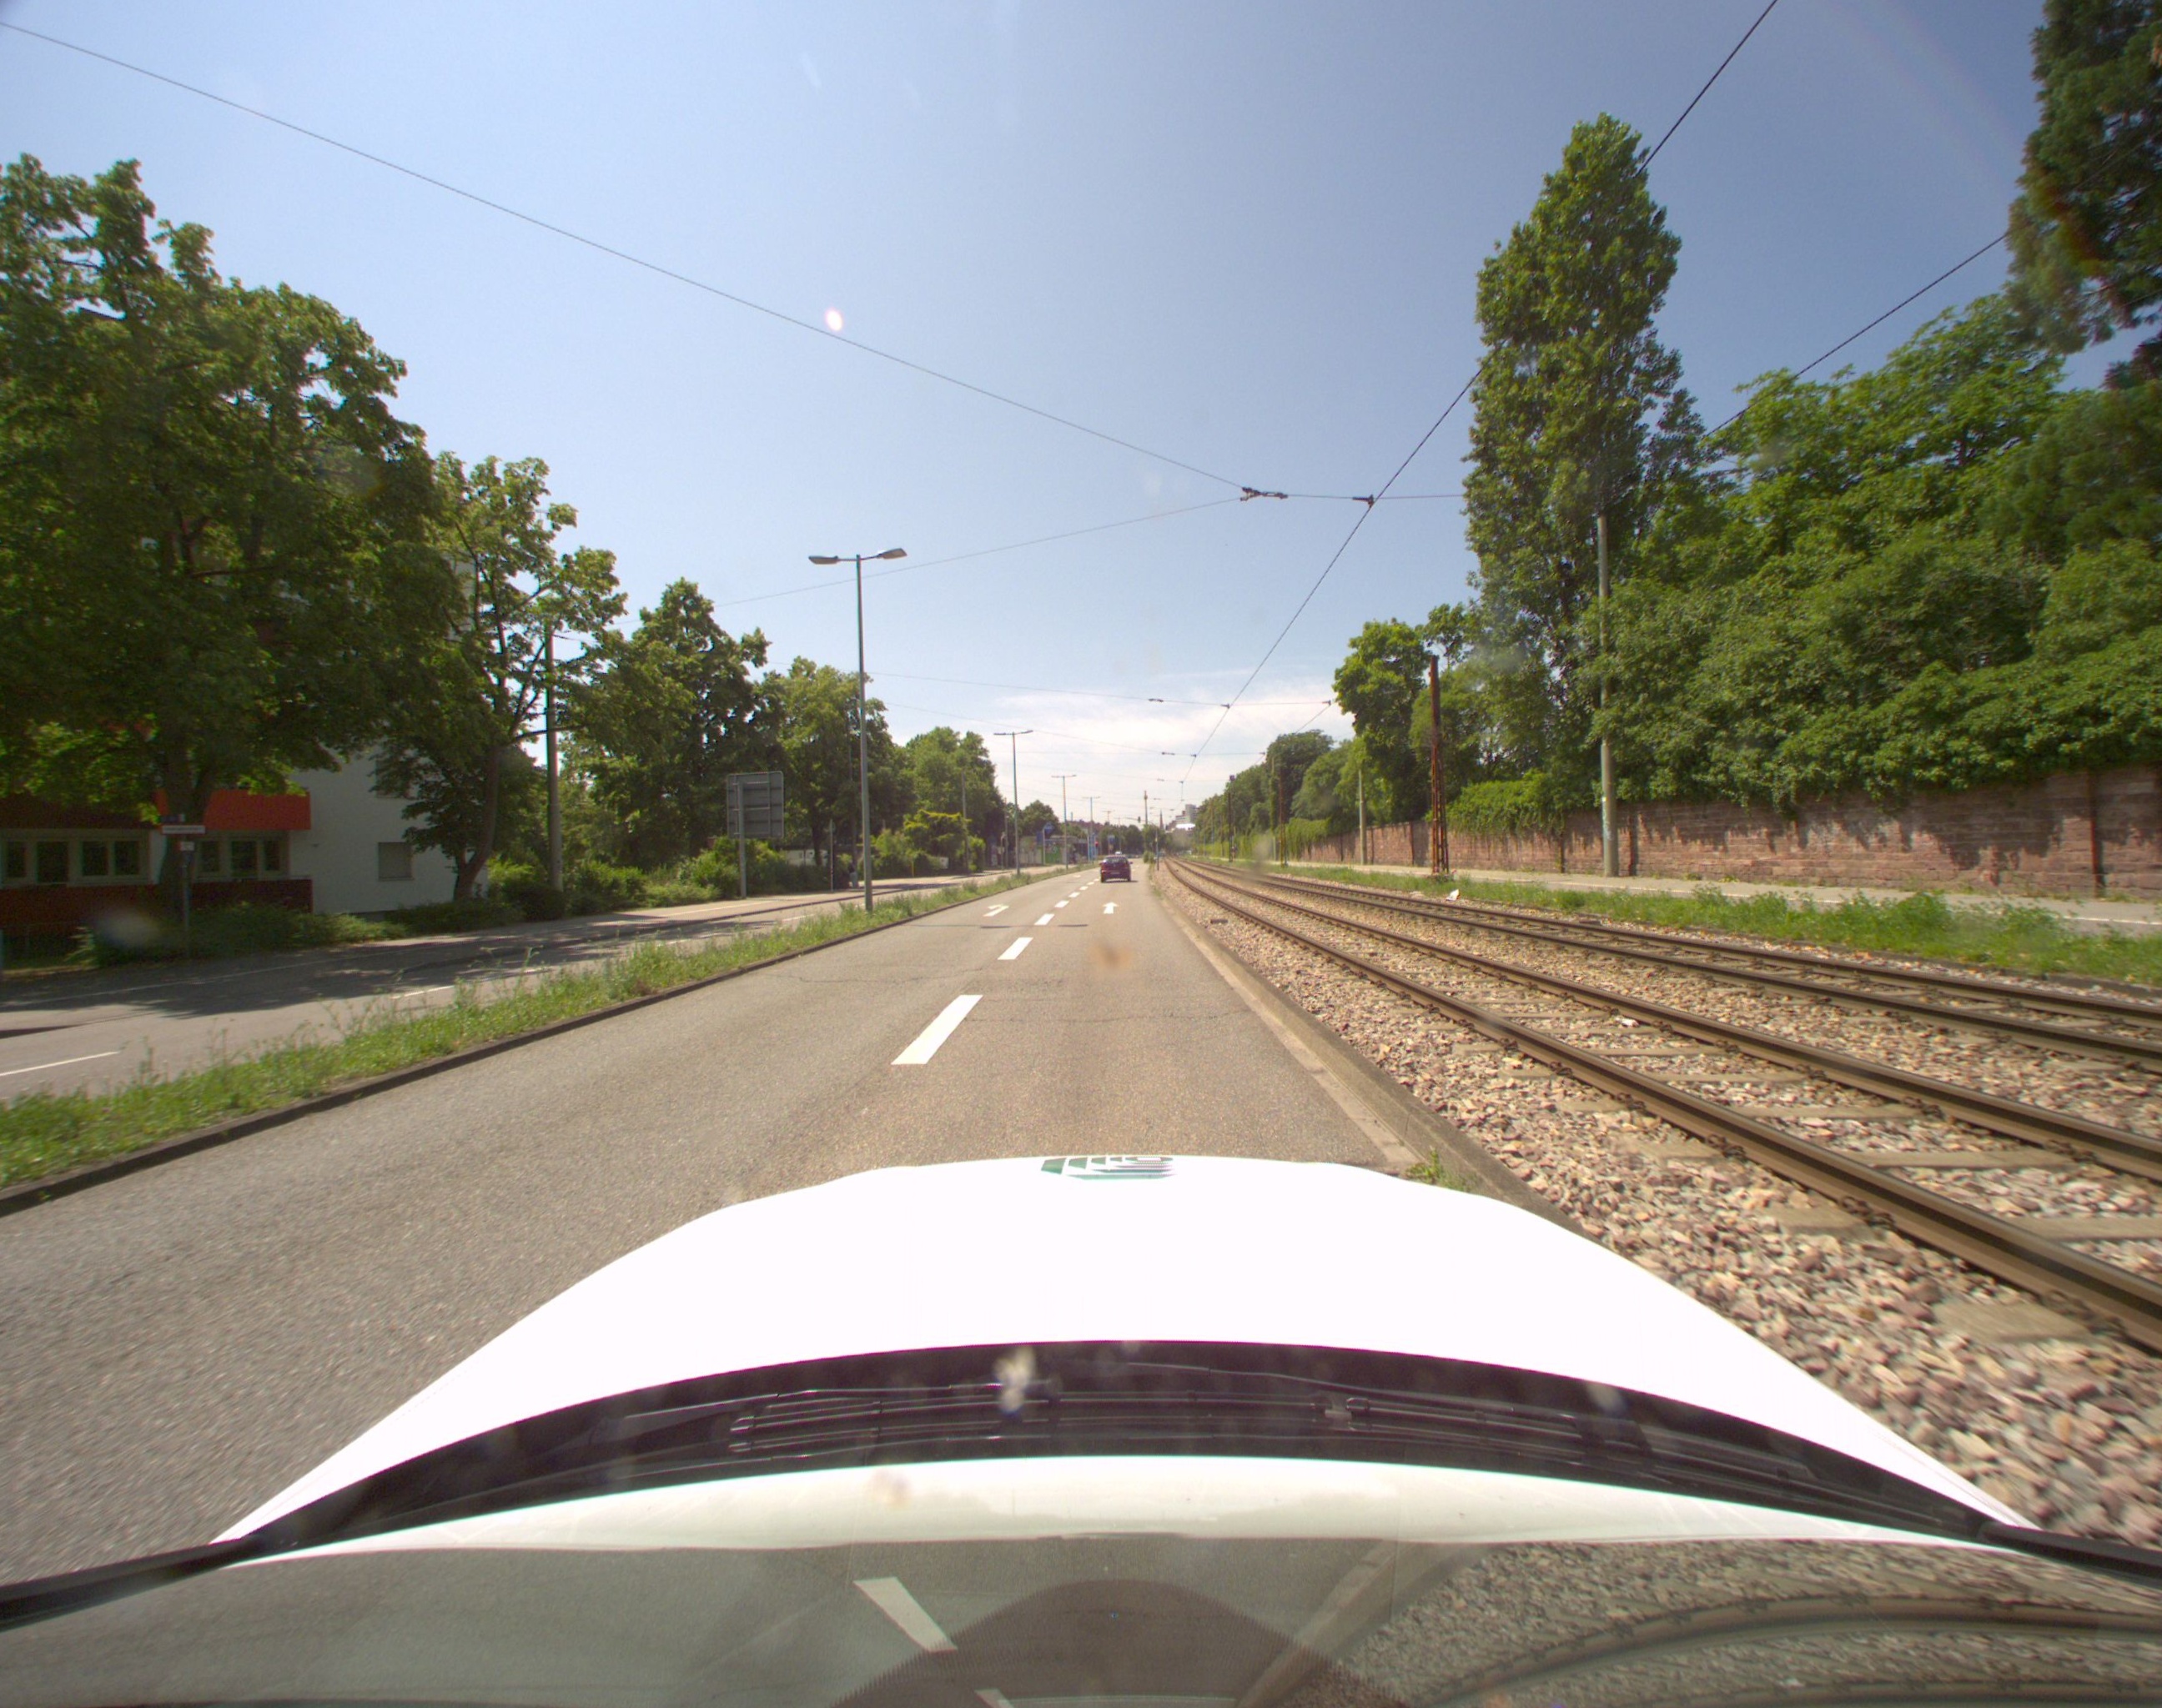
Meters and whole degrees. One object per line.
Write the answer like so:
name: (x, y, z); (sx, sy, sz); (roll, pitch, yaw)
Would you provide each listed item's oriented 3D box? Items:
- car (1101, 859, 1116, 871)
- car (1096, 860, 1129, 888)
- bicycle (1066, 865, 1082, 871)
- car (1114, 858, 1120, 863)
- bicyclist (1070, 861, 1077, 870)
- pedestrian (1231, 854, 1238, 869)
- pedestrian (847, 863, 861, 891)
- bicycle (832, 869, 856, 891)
car: (3.341, 1.372, 100.328); (1.697, 1.481, 3.715); (1, -1, 0)
car: (1.794, 1.076, 44.983); (1.695, 1.477, 3.720); (-1, 0, 3)
bicycle: (-1.201, 2.394, 136.737); (2.551, 1.038, 1.083); (0, -2, -12)
car: (11.386, 2.169, 258.437); (1.987, 1.596, 3.999); (0, -2, 0)
bicyclist: (-1.252, 1.924, 136.771); (0.944, 1.593, 1.083); (0, -2, -11)
pedestrian: (17.157, 0.822, 91.015); (0.658, 1.726, 0.817); (-2, -1, 4)
pedestrian: (-13.845, 1.391, 49.626); (0.545, 1.718, 0.606); (-2, -1, 18)
bicycle: (-14.455, 1.572, 49.690); (0.641, 1.328, 1.580); (-2, -1, 17)
